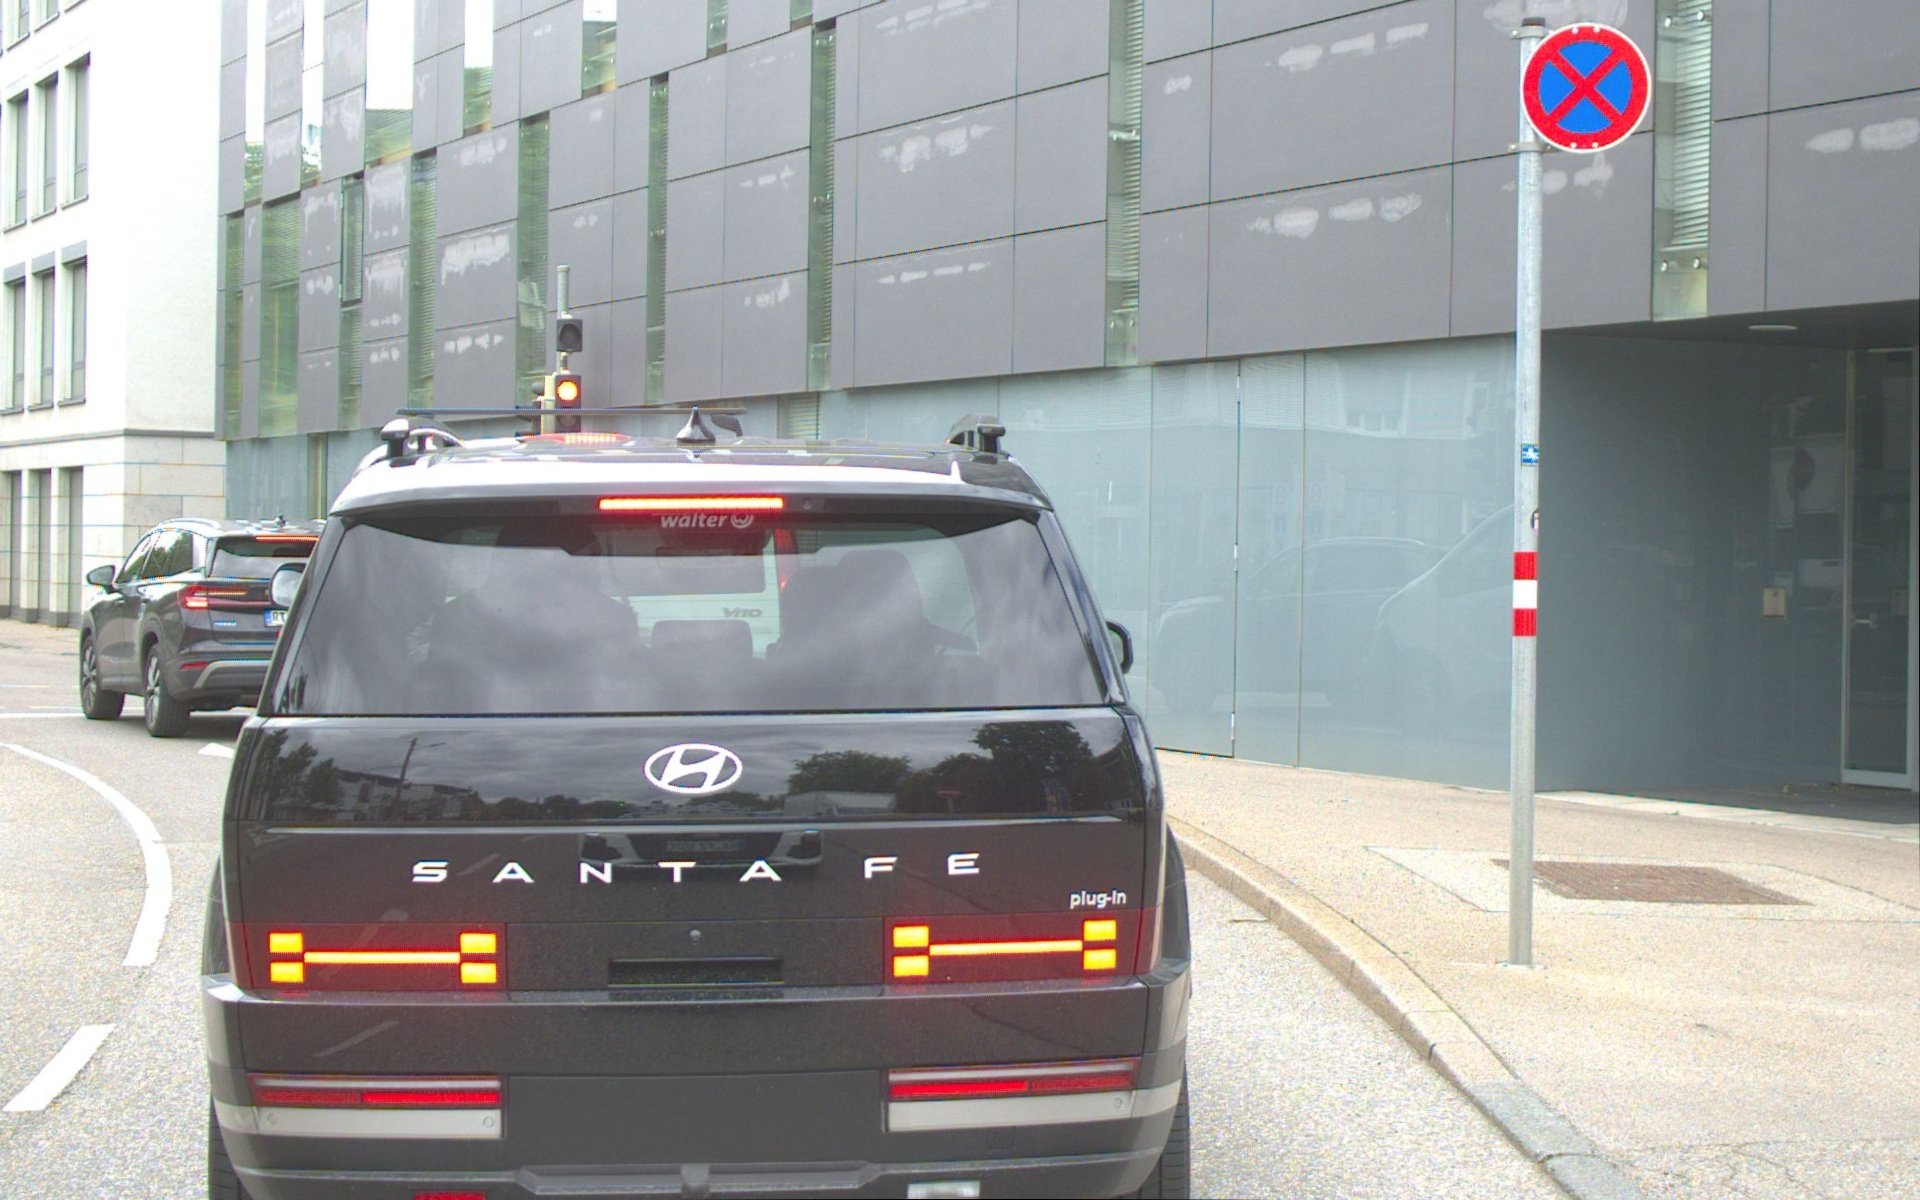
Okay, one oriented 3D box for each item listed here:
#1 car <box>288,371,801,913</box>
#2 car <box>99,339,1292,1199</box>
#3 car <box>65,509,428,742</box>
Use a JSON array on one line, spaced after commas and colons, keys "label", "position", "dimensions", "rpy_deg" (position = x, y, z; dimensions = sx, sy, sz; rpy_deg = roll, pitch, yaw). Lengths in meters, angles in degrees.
[{"label": "car", "position": [-1.985, 0.109, 15.204], "dimensions": [1.855, 2.026, 4.439], "rpy_deg": [0, 1, -12]}, {"label": "car", "position": [-0.568, 0.433, 7.786], "dimensions": [1.915, 1.719, 4.171], "rpy_deg": [2, 1, -4]}, {"label": "car", "position": [-5.695, 0.154, 27.035], "dimensions": [1.847, 1.671, 4.376], "rpy_deg": [-1, 1, -25]}]
